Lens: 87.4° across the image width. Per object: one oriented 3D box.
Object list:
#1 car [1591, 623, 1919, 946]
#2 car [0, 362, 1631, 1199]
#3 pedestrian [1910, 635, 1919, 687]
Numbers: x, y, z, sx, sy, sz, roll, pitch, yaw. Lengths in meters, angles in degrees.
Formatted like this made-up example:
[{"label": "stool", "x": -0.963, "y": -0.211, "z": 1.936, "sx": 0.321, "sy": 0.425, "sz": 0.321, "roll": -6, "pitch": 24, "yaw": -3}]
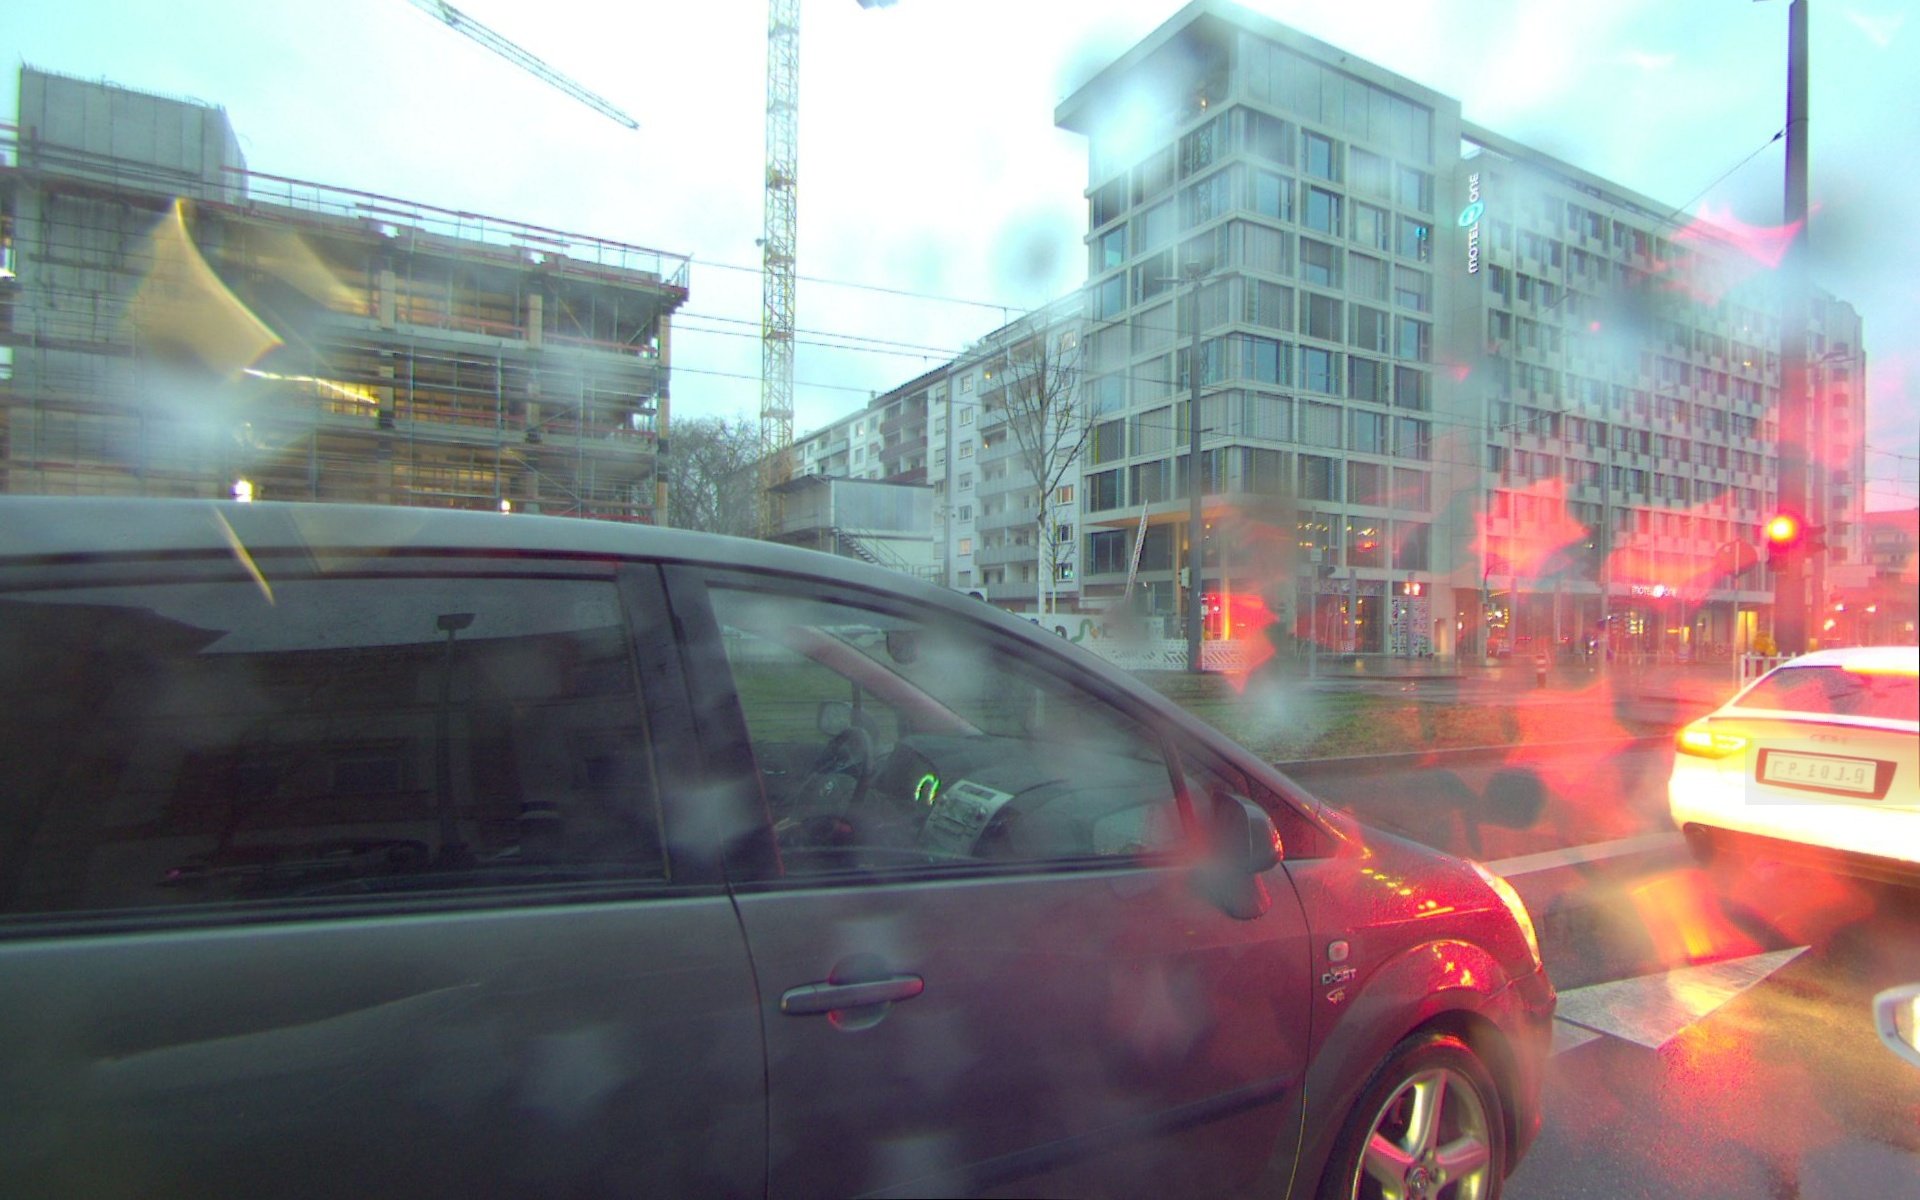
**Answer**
[{"label": "car", "x": 6.072, "y": 0.919, "z": 6.239, "sx": 4.320, "sy": 1.475, "sz": 1.983, "roll": 1, "pitch": 0, "yaw": -32}, {"label": "car", "x": -0.554, "y": 0.641, "z": 2.145, "sx": 4.089, "sy": 1.668, "sz": 1.801, "roll": 1, "pitch": 0, "yaw": -32}, {"label": "pedestrian", "x": 32.809, "y": 2.091, "z": 34.057, "sx": 0.808, "sy": 1.734, "sz": 0.782, "roll": 2, "pitch": 0, "yaw": -45}]
